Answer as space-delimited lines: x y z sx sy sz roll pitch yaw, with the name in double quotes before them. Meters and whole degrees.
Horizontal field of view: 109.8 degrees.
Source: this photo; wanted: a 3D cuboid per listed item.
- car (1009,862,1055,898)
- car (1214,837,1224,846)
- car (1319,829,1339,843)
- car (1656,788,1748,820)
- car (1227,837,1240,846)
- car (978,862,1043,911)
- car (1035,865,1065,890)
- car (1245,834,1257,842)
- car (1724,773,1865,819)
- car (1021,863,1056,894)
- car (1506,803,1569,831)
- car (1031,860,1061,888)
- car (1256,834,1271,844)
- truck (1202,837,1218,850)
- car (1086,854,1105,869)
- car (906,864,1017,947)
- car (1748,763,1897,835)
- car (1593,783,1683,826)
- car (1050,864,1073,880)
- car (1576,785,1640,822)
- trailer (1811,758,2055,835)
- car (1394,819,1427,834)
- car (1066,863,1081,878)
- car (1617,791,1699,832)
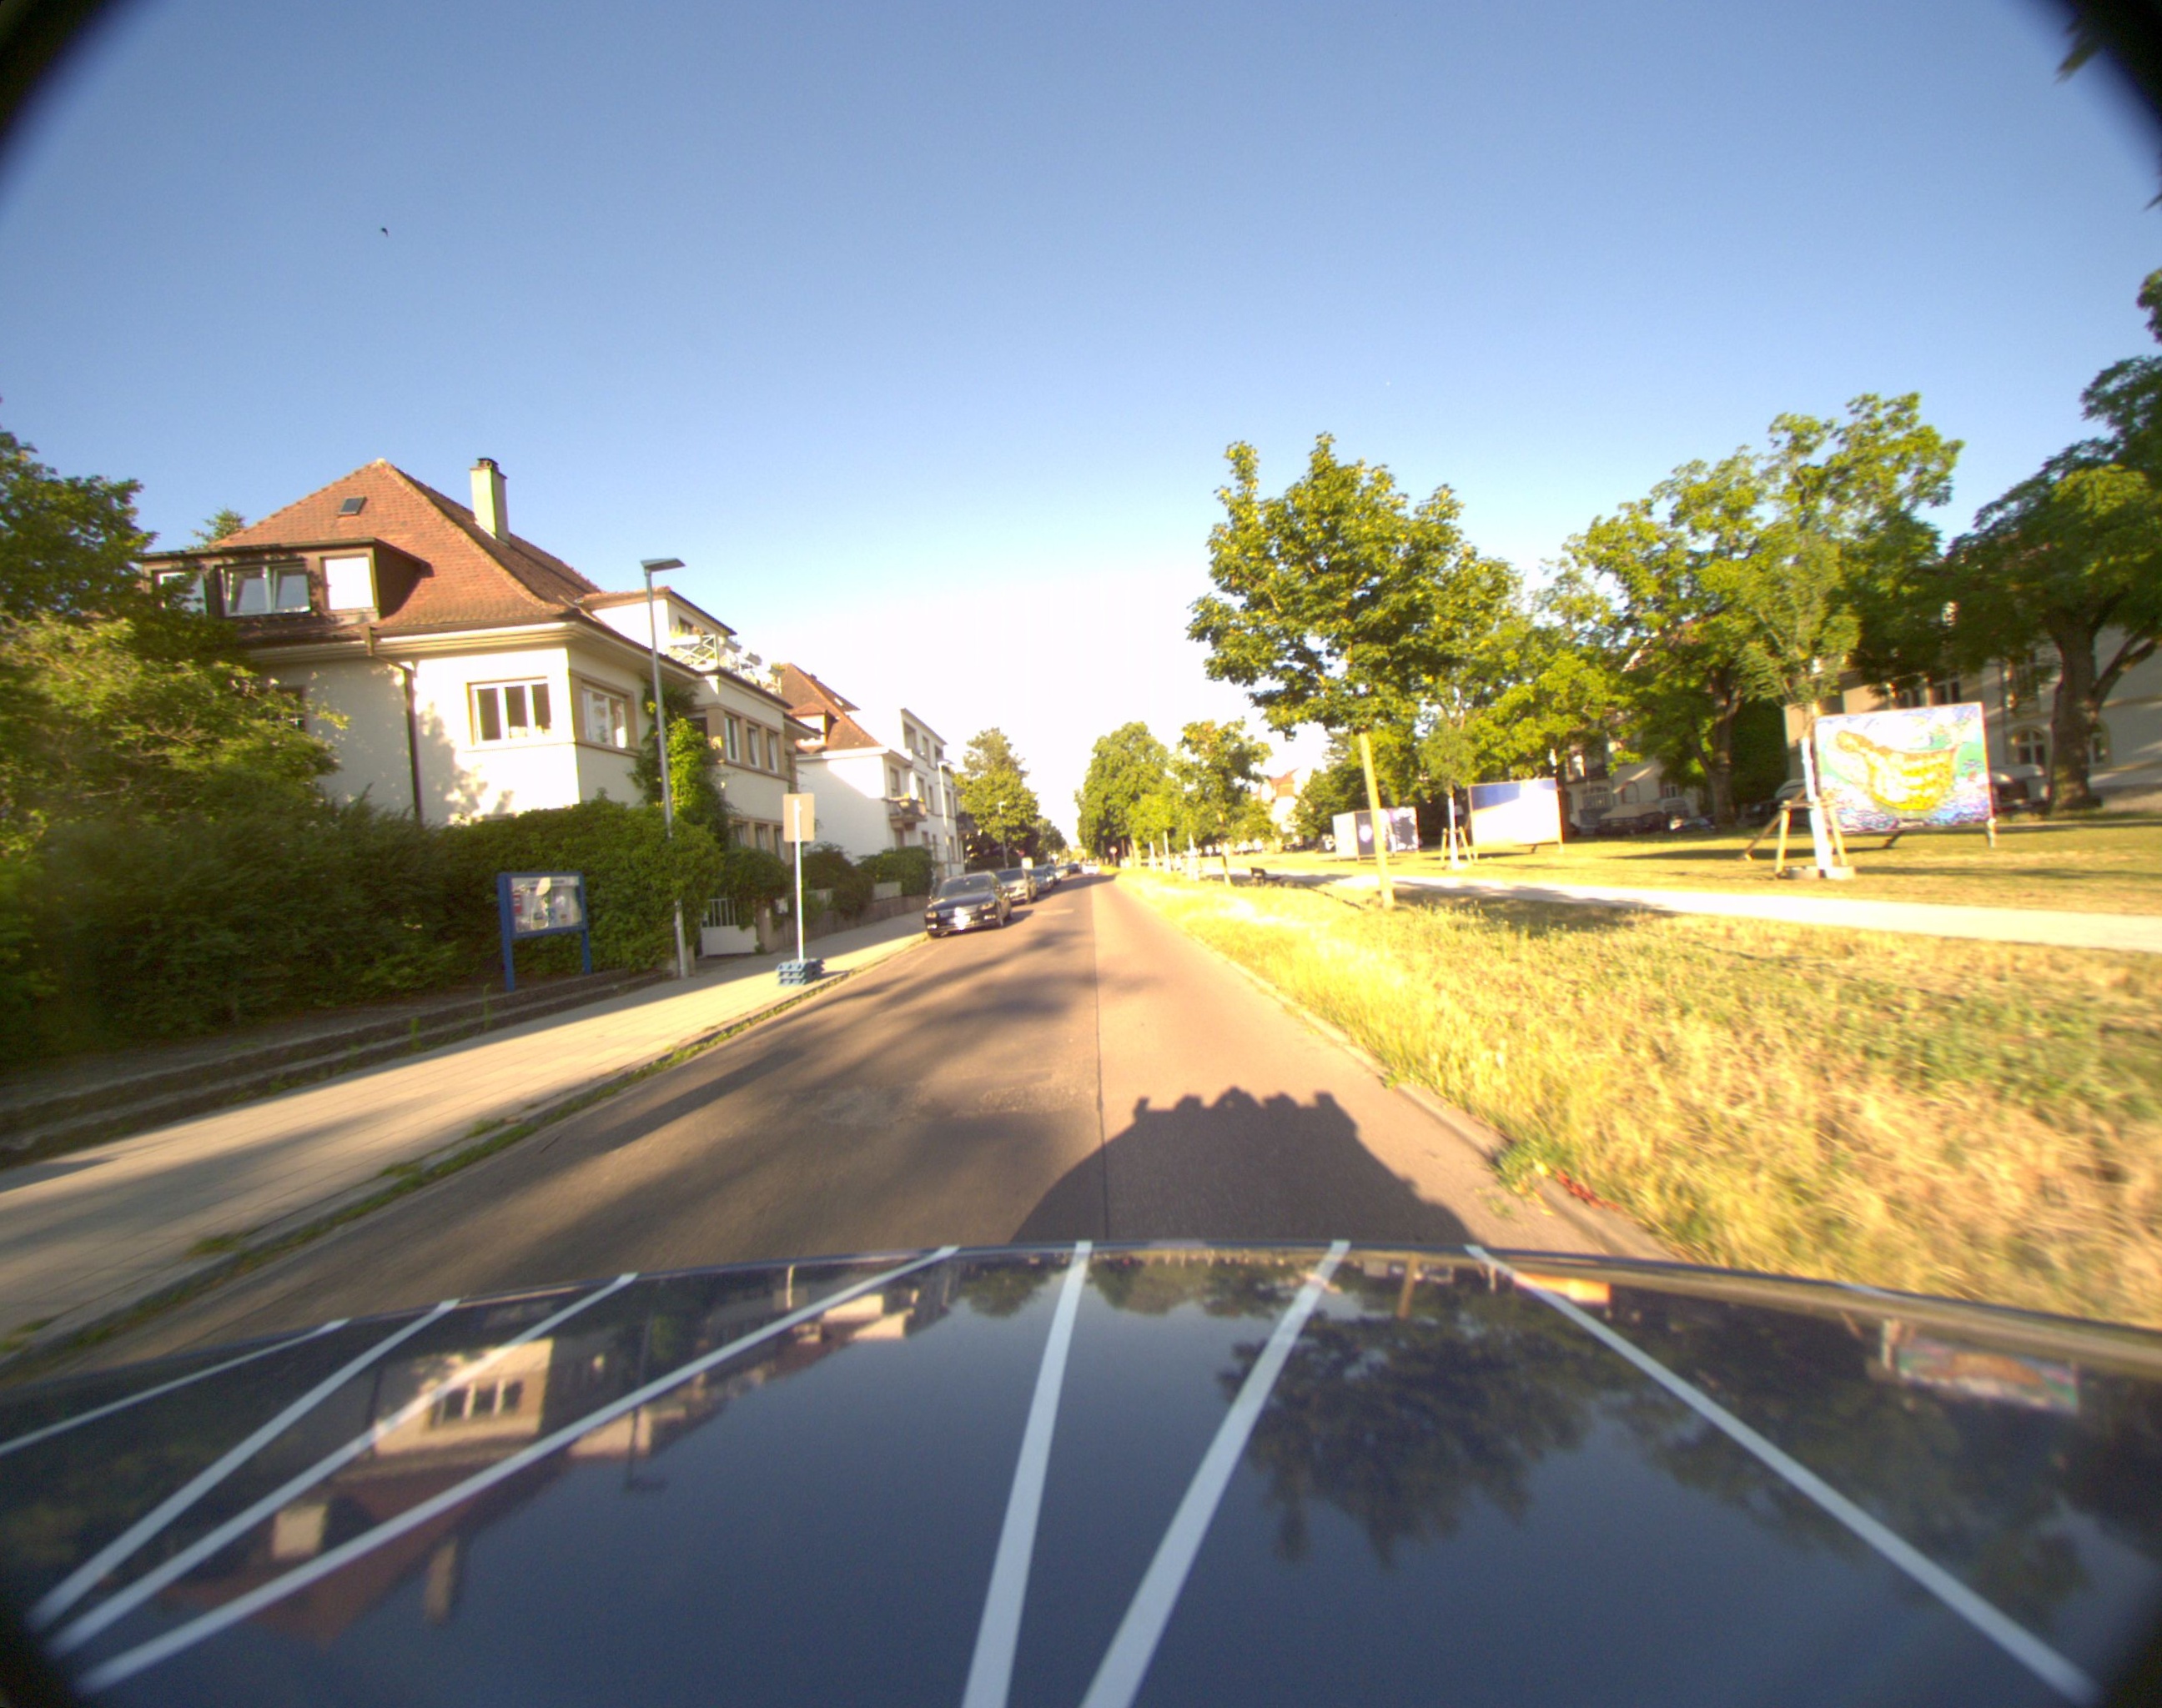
"car" -2.620 1.405 41.714 1.916 1.550 4.567 -9 -1 1
"car" 36.584 -3.358 201.170 1.998 2.001 4.002 -4 -1 3
"car" 41.354 -2.984 126.825 1.998 2.002 4.001 -5 0 3
"car" 34.166 -2.722 41.935 1.857 1.308 4.043 -6 0 4
"car" 36.315 -3.013 181.074 2.125 2.002 3.999 -1 1 -1
"car" -2.819 1.274 31.351 1.888 1.527 4.462 -8 0 3
"car" -2.462 1.900 61.729 1.880 1.524 4.590 -10 0 2
"car" 41.747 -3.996 187.005 1.999 1.834 3.999 -1 1 -2
"car" 34.202 -2.742 36.676 1.999 1.632 4.951 -6 0 -1
"car" -2.571 1.470 46.996 1.767 1.427 4.303 -10 0 -1
"car" 34.531 -2.744 57.593 1.999 1.718 4.345 -4 -1 0
"car" -2.508 1.422 55.880 1.805 1.638 4.583 -9 1 -1
"car" 36.041 -2.896 149.963 1.998 1.692 4.001 -4 -1 1
"truck" 36.761 -2.968 216.928 2.785 3.127 7.710 -5 0 0
"car" 1.657 0.881 86.455 1.998 1.483 4.001 -3 -1 1
"car" -3.019 1.251 20.333 1.999 1.588 4.885 -9 0 0
"car" 40.033 -2.831 41.354 1.998 3.229 6.076 -4 -1 1
"car" 34.301 -3.000 46.987 1.999 2.161 4.571 -4 -1 -1
"car" -2.153 2.010 84.993 2.111 1.396 4.133 -10 -1 1
"car" 40.240 -3.833 58.123 1.998 2.527 3.999 -4 1 1
"trailer" 34.063 -2.155 30.841 2.479 2.643 6.636 -1 1 0
"car" 40.743 -3.379 94.084 1.999 1.490 4.000 -4 -1 -4
"car" -1.175 2.663 121.449 1.998 2.178 4.001 -4 -1 2
"car" 40.341 -2.924 53.299 1.950 2.624 5.044 -1 1 1
